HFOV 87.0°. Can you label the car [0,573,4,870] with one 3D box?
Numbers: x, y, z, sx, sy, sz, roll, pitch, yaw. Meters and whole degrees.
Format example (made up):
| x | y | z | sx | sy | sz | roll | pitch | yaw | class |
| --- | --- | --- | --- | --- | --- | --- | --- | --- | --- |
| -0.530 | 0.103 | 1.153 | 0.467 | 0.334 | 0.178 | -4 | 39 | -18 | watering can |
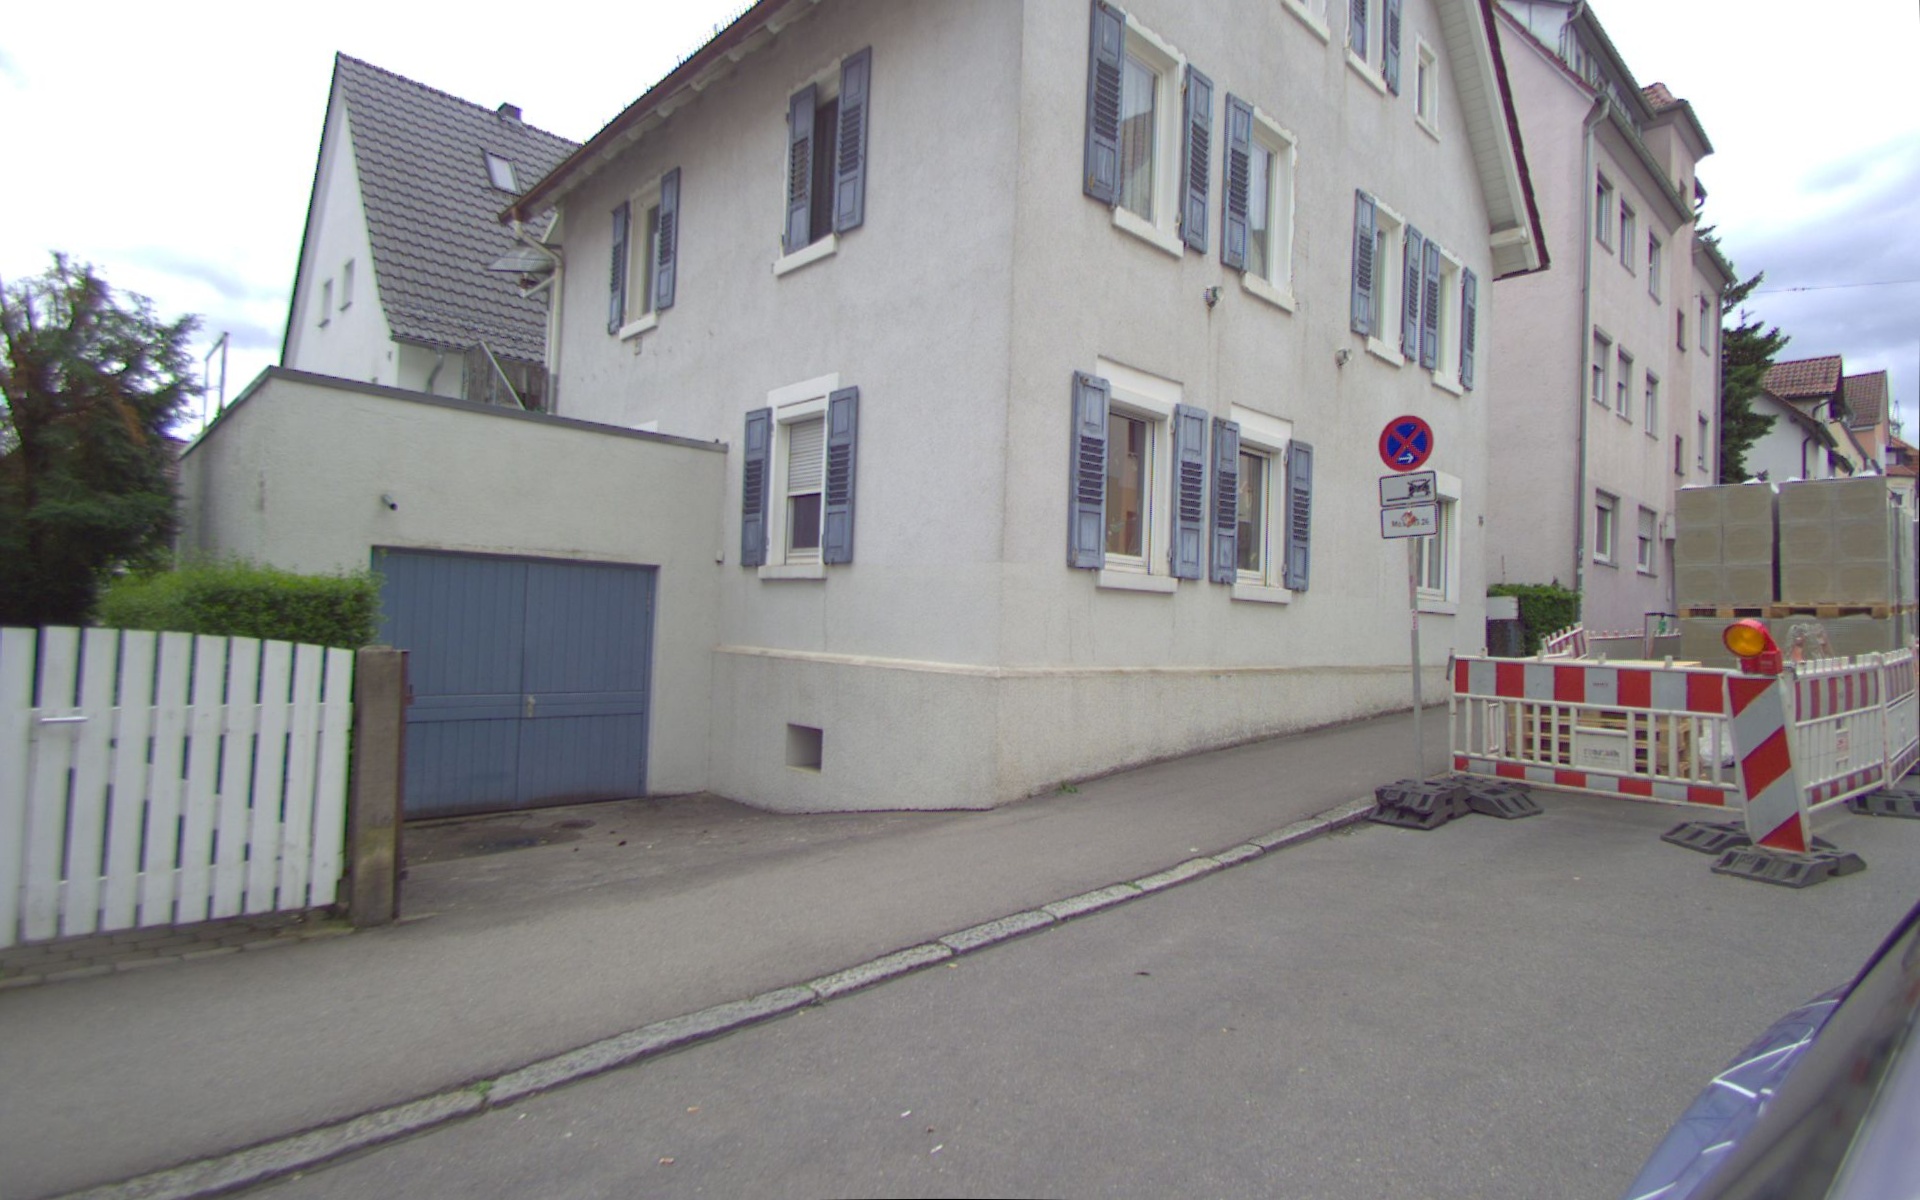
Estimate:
| x | y | z | sx | sy | sz | roll | pitch | yaw | class |
| --- | --- | --- | --- | --- | --- | --- | --- | --- | --- |
| -3.128 | 0.703 | 0.105 | 4.378 | 1.460 | 1.819 | 0 | -1 | -45 | car |
